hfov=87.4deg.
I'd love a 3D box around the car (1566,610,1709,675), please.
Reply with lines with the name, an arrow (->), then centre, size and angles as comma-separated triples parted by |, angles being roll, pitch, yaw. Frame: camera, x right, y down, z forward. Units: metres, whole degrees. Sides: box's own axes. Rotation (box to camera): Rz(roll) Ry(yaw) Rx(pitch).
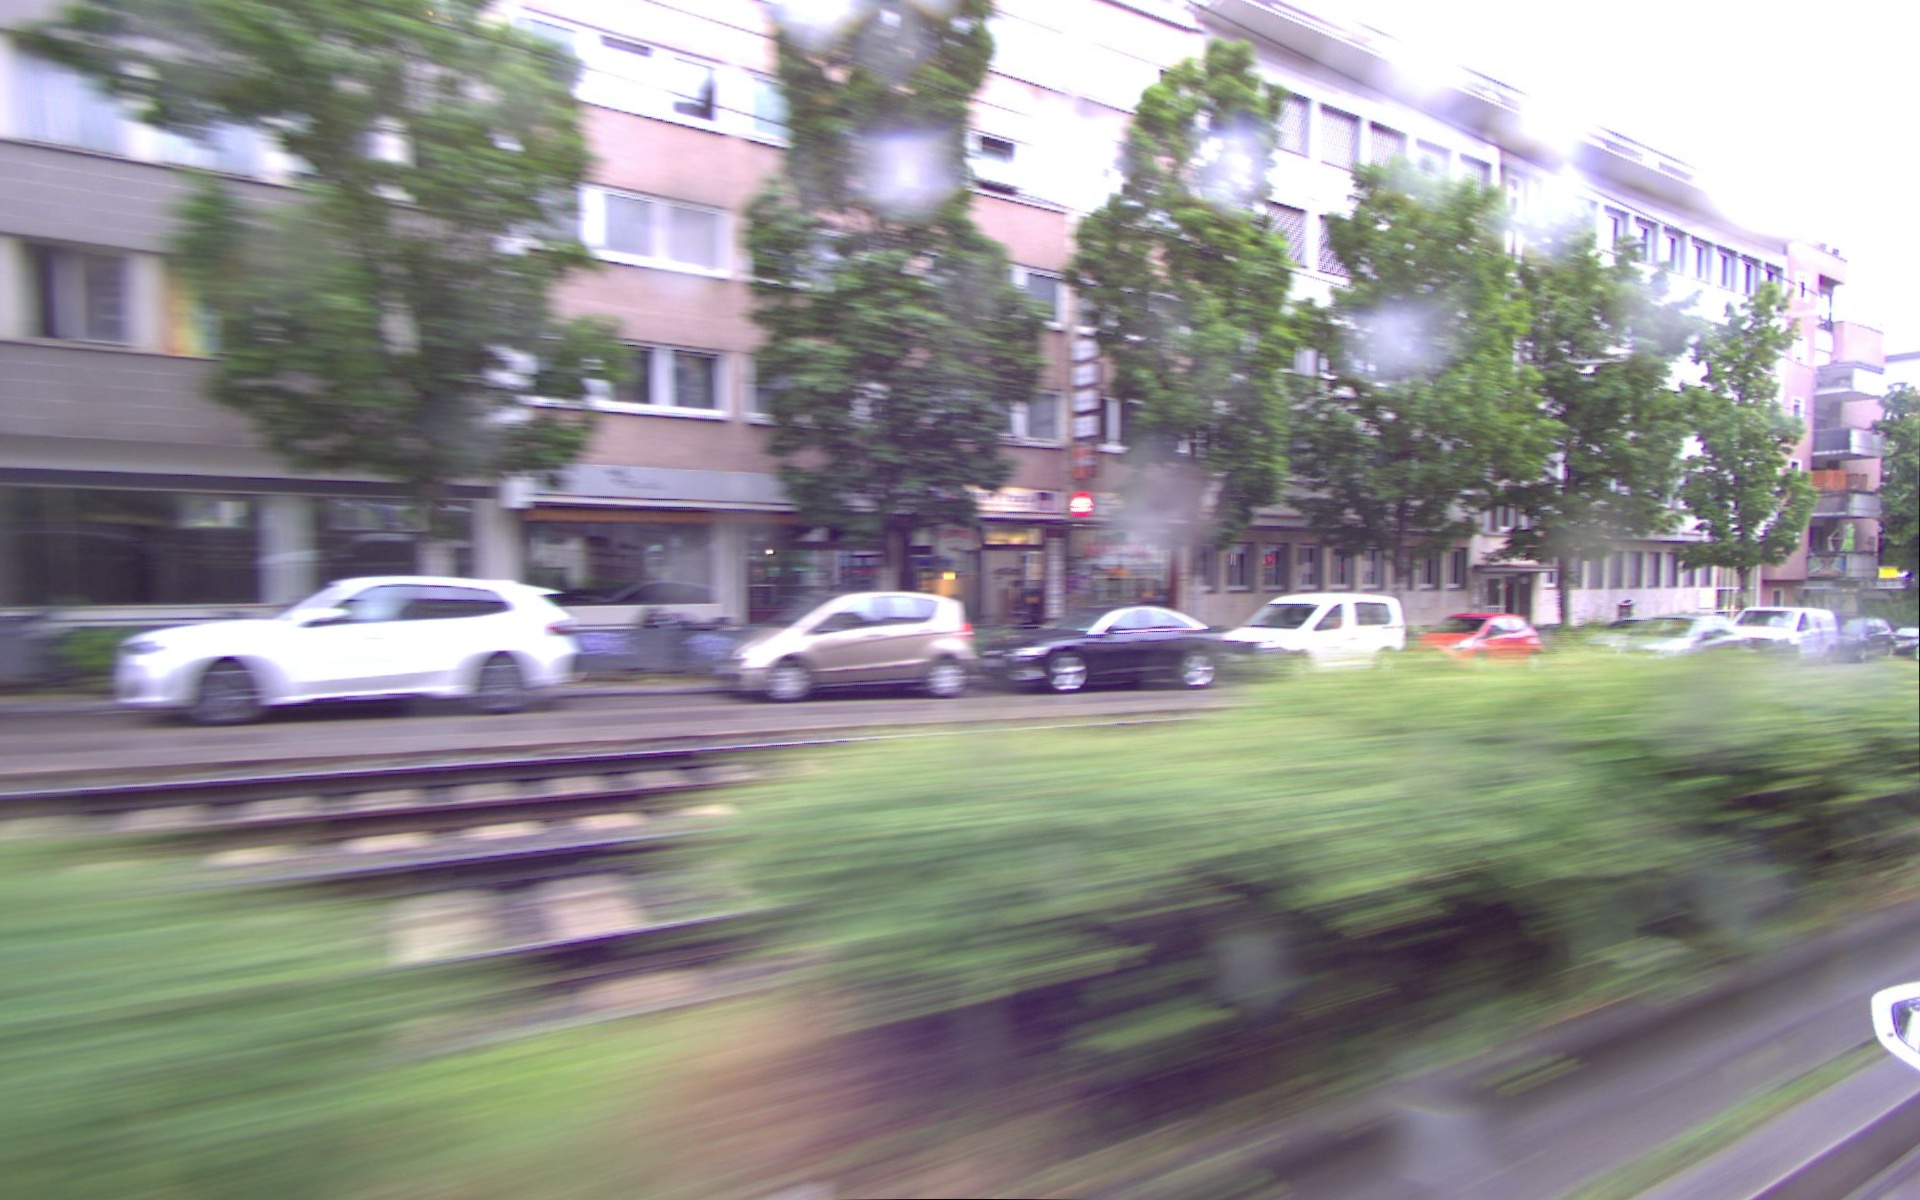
car -> 18.656, 1.168, 27.638 | 4.000, 1.579, 1.659 | 3, 1, -31

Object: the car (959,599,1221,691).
car -> 2.344, 0.811, 17.718 | 4.380, 1.436, 1.846 | 3, -2, -31

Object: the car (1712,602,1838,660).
car -> 26.687, 1.037, 32.848 | 4.885, 1.658, 1.843 | 3, 1, -34

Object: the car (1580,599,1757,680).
car -> 16.608, 0.939, 23.523 | 4.000, 1.658, 1.846 | 3, 1, -31

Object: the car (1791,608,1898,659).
car -> 31.675, 1.212, 35.955 | 4.000, 1.594, 1.686 | 3, 1, -31

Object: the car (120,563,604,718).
car -> -6.930, 0.501, 12.161 | 4.666, 1.569, 1.846 | 2, -2, -31

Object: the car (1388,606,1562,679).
car -> 12.462, 1.039, 24.254 | 4.000, 1.547, 1.846 | 3, 1, -31

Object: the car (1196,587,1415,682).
car -> 7.214, 0.735, 20.881 | 4.380, 1.723, 1.846 | 3, 1, -31

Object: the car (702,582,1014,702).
car -> -1.527, 0.624, 15.456 | 4.380, 1.569, 1.846 | 2, 1, -31

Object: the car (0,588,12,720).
car -> -11.919, 0.547, 9.018 | 4.666, 1.396, 1.685 | 1, 0, -31

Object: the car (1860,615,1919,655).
car -> 36.858, 1.403, 39.089 | 4.000, 1.413, 1.542 | 3, 1, -31
